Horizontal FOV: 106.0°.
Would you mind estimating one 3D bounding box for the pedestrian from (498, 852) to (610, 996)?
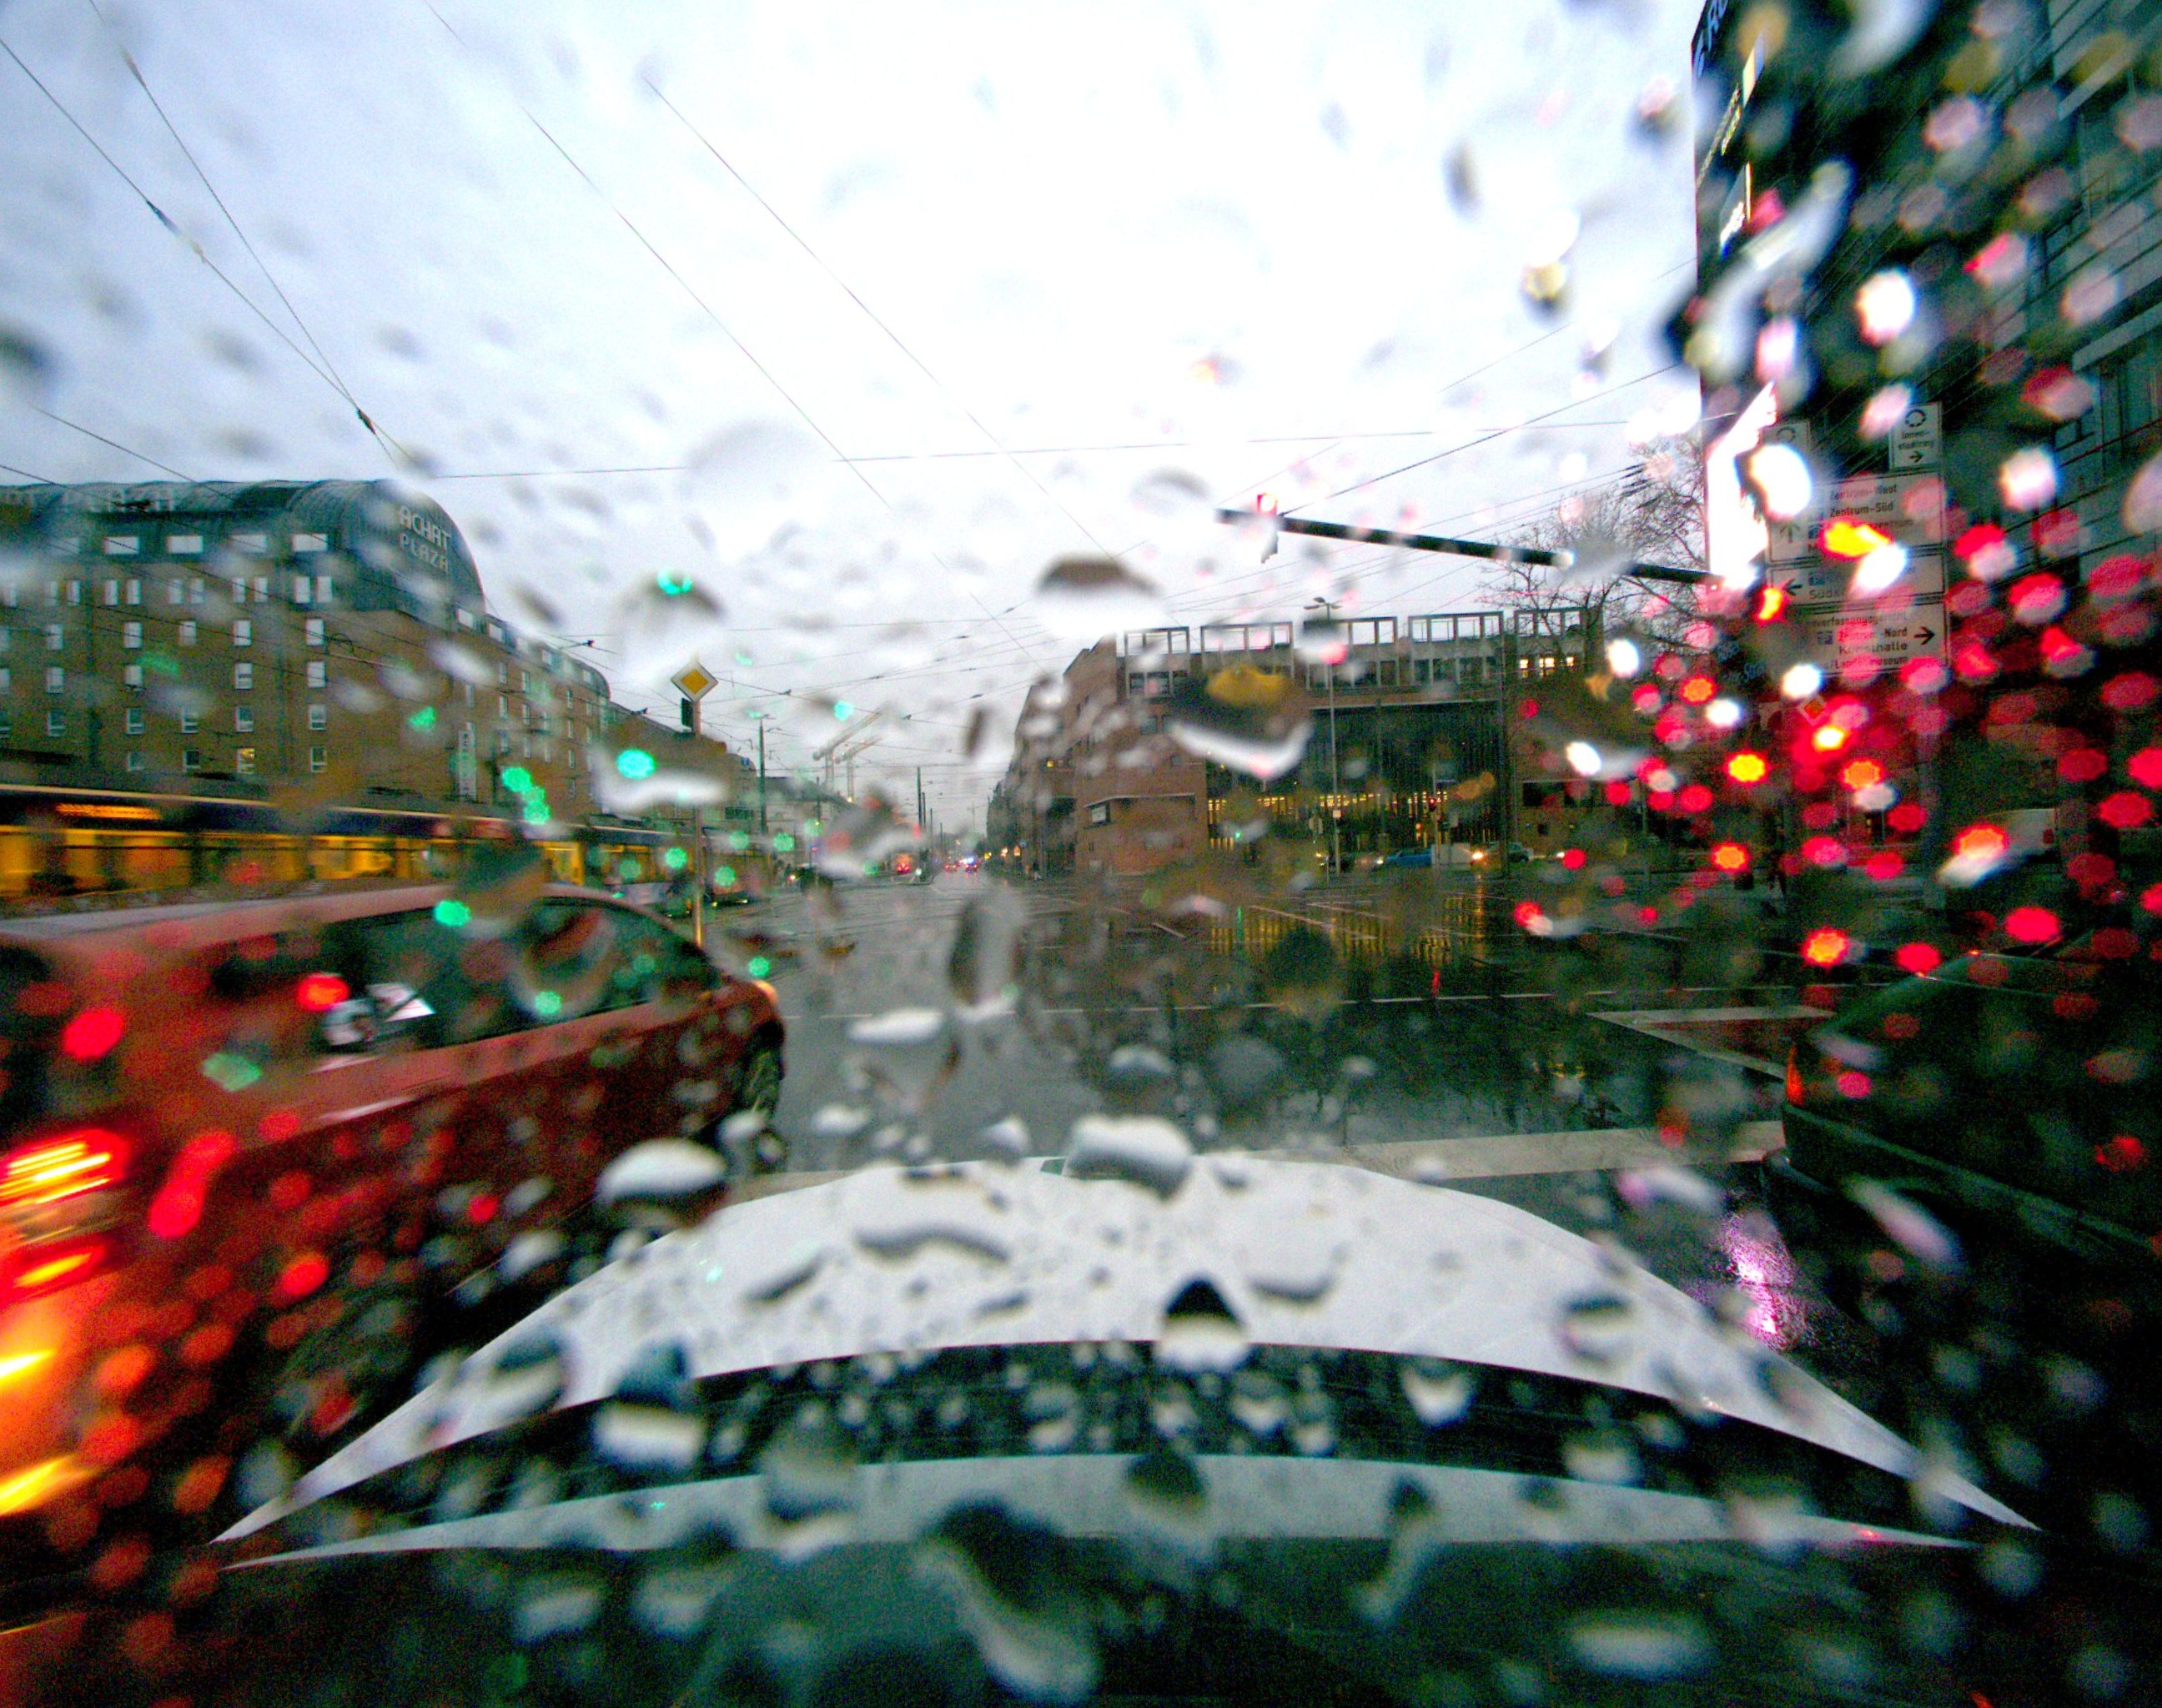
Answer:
[{"bbox_3d":[-6.420,0.818,9.920,1.041,1.601,0.708,-3,-1,-37],"label":"pedestrian"}]

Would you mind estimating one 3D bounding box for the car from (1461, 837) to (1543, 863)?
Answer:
[{"bbox_3d":[24.827,-0.276,48.095,3.979,1.288,1.845,-2,4,-4],"label":"car"}]

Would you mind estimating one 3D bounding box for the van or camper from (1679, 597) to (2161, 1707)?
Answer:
[{"bbox_3d":[2.682,0.509,0.316,1.750,1.906,4.420,-1,0,2],"label":"van or camper"}]

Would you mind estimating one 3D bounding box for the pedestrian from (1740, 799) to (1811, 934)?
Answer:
[{"bbox_3d":[11.604,0.209,13.623,0.574,2.184,0.619,-1,-1,-4],"label":"pedestrian"}]

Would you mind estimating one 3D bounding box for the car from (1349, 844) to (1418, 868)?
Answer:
[{"bbox_3d":[19.152,0.103,51.611,3.713,1.263,1.845,-2,4,-4],"label":"car"}]

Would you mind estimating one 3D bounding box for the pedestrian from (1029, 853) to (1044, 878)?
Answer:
[{"bbox_3d":[-3.587,0.938,65.853,1.069,2.013,0.682,-2,0,-12],"label":"pedestrian"}]

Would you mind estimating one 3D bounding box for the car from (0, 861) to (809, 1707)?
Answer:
[{"bbox_3d":[-2.638,0.801,3.203,1.691,1.459,3.759,-2,0,2],"label":"car"}]

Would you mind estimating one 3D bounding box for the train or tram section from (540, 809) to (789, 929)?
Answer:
[{"bbox_3d":[-16.355,0.541,34.871,2.862,3.614,19.166,-2,0,-7],"label":"train or tram section"}]

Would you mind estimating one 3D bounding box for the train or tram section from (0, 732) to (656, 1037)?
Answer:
[{"bbox_3d":[-14.648,0.452,16.271,2.858,3.614,20.044,-2,0,-3],"label":"train or tram section"}]

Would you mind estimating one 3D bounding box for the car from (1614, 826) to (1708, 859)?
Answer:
[{"bbox_3d":[32.254,-0.680,45.346,3.979,1.600,1.845,-2,4,-4],"label":"car"}]

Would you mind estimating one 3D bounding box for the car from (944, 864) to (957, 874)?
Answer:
[{"bbox_3d":[-21.520,2.394,134.413,1.869,1.579,3.989,0,0,-8],"label":"car"}]

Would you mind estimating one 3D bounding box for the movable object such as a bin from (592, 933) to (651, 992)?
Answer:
[{"bbox_3d":[-6.013,1.404,10.653,0.407,0.699,0.541,-5,-2,41],"label":"movable object such as a bin"}]

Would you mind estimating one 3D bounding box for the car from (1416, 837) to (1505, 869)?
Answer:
[{"bbox_3d":[20.440,-0.073,43.910,3.979,1.504,1.845,-2,4,-4],"label":"car"}]

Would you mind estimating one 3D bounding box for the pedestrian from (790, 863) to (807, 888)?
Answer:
[{"bbox_3d":[-23.133,1.732,66.600,0.973,2.014,0.838,-1,-1,16],"label":"pedestrian"}]

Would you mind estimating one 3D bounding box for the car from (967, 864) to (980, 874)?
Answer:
[{"bbox_3d":[-17.454,2.472,132.359,1.868,1.579,3.991,0,0,-6],"label":"car"}]

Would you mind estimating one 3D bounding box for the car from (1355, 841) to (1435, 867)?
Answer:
[{"bbox_3d":[18.320,0.000,47.542,3.979,1.263,1.845,-2,4,-4],"label":"car"}]

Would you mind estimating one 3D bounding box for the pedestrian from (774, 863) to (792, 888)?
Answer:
[{"bbox_3d":[-23.953,1.726,65.426,0.973,2.014,0.838,-1,-1,16],"label":"pedestrian"}]

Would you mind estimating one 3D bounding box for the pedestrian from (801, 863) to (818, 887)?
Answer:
[{"bbox_3d":[-22.618,1.747,67.906,0.973,2.014,0.838,-1,-1,16],"label":"pedestrian"}]

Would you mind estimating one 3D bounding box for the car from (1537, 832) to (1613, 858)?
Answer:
[{"bbox_3d":[32.166,-0.608,53.091,3.979,1.504,1.845,-2,4,-4],"label":"car"}]

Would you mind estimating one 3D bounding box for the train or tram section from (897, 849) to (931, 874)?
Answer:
[{"bbox_3d":[-26.181,1.214,129.096,3.189,3.436,27.753,-2,0,-8],"label":"train or tram section"}]
